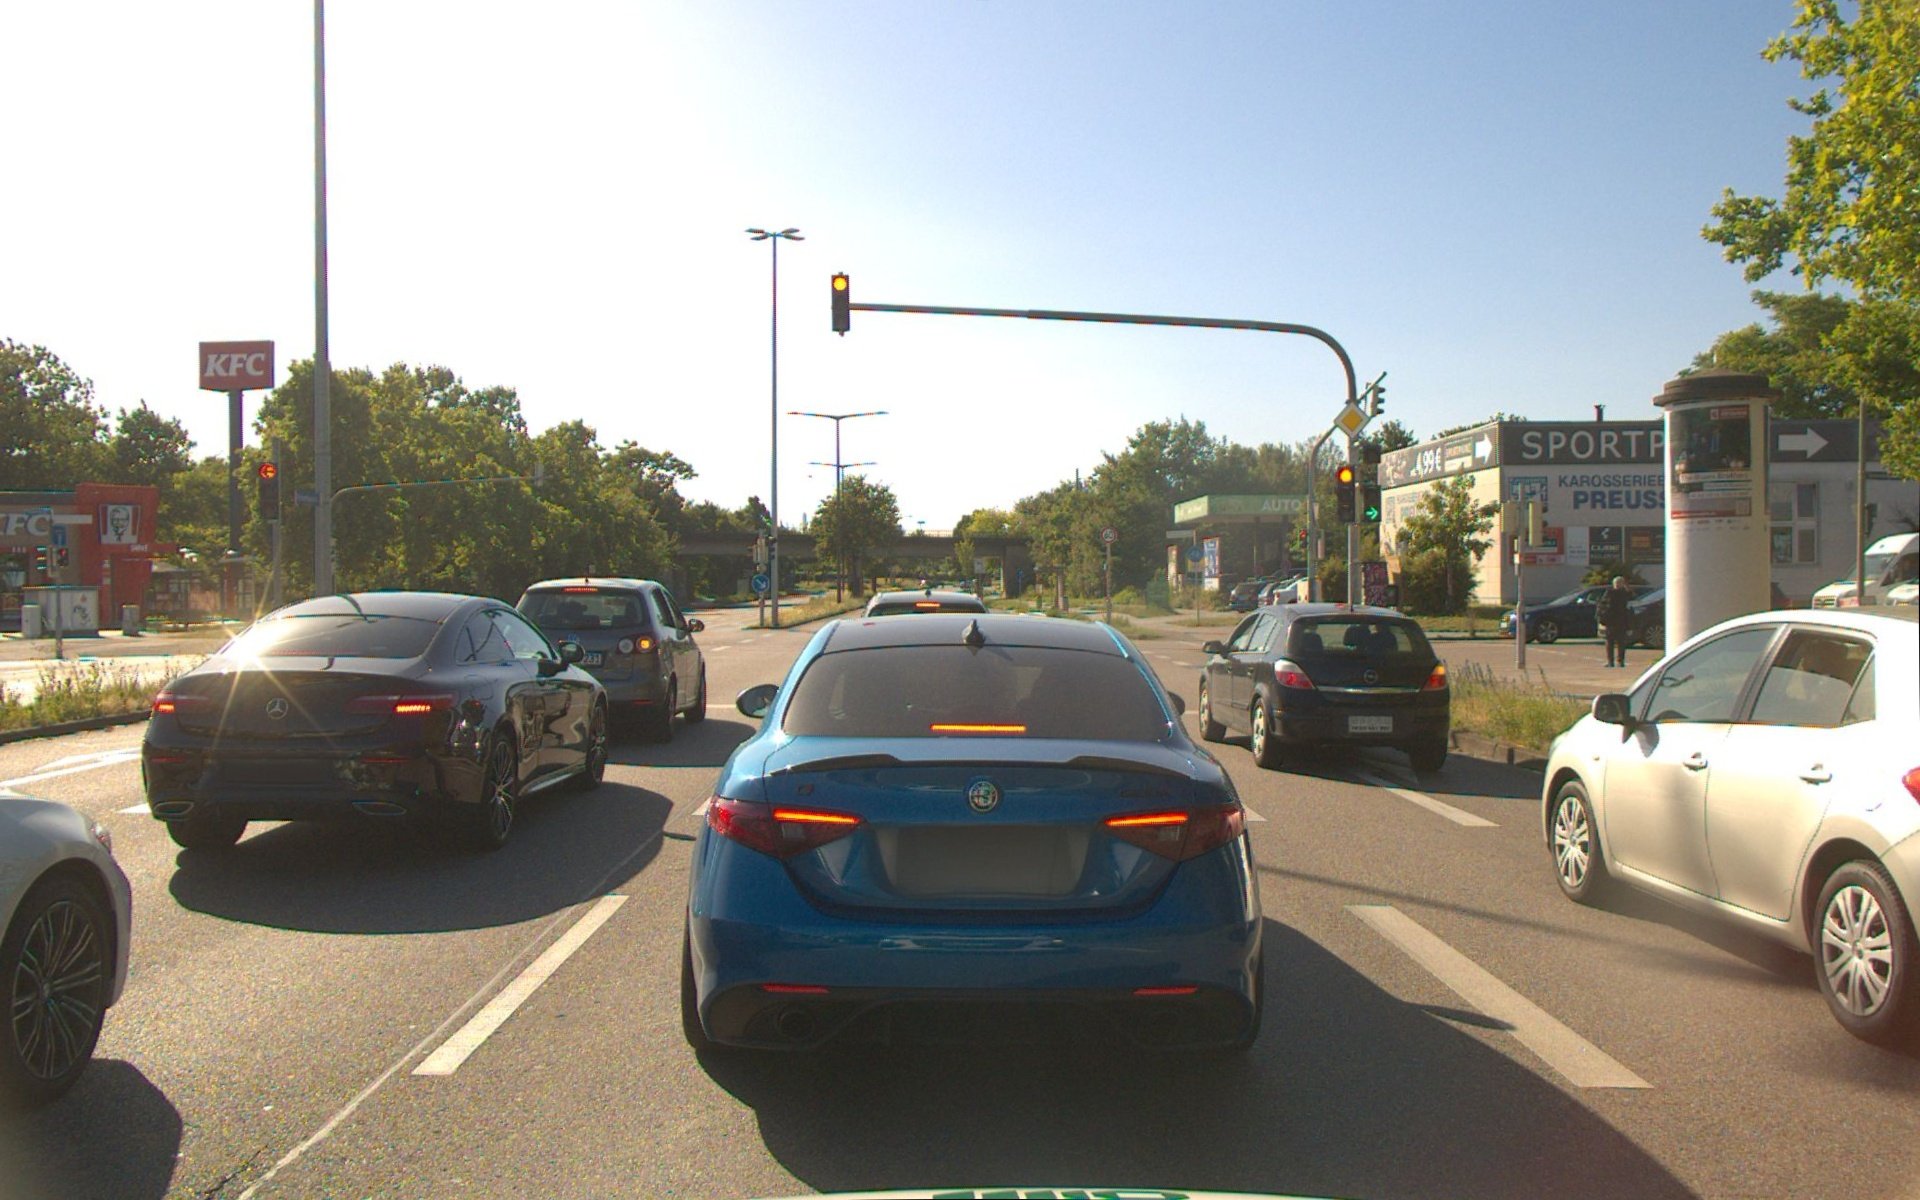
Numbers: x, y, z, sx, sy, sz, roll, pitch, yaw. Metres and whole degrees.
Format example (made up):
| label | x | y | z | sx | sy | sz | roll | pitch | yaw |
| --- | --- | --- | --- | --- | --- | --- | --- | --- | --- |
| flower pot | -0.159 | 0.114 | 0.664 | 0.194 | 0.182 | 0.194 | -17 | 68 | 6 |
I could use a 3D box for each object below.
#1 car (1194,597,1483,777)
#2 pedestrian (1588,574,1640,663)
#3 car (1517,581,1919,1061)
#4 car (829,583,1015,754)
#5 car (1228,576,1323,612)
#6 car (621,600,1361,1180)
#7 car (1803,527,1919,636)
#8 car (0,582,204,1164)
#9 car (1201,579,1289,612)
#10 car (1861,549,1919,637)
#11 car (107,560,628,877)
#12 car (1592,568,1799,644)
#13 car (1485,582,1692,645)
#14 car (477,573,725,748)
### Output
| label | x | y | z | sx | sy | sz | roll | pitch | yaw |
| --- | --- | --- | --- | --- | --- | --- | --- | --- | --- |
| car | 3.454 | 0.722 | 15.917 | 1.699 | 1.467 | 4.370 | 1 | 0 | -1 |
| pedestrian | 12.660 | 0.360 | 32.027 | 0.800 | 1.698 | 0.514 | 1 | -1 | -1 |
| car | 3.988 | 0.722 | 7.070 | 1.747 | 1.564 | 4.107 | 1 | 0 | -1 |
| car | -0.314 | 0.633 | 16.910 | 1.669 | 1.523 | 3.719 | 1 | 0 | 1 |
| car | 14.249 | -0.265 | 74.897 | 3.905 | 1.579 | 2.000 | 1 | 0 | 0 |
| car | 0.108 | 0.750 | 6.093 | 1.870 | 1.447 | 3.719 | 1 | 0 | 1 |
| car | 25.296 | -0.498 | 42.981 | 5.715 | 2.719 | 2.000 | -1 | -1 | 0 |
| car | -3.373 | 0.713 | 3.141 | 1.775 | 1.512 | 4.596 | 0 | 0 | 0 |
| car | 14.382 | -0.232 | 83.440 | 3.925 | 1.579 | 1.990 | 1 | 0 | -18 |
| car | 24.622 | -0.195 | 39.812 | 4.854 | 2.071 | 1.880 | -1 | 0 | -2 |
| car | -3.422 | 0.586 | 10.565 | 1.775 | 1.578 | 4.542 | 1 | 0 | -1 |
| car | 17.470 | 0.147 | 39.385 | 4.219 | 1.678 | 1.637 | 1 | 0 | -2 |
| car | 16.228 | 0.348 | 42.832 | 4.722 | 1.493 | 1.758 | 1 | 0 | -3 |
| car | -3.594 | 0.567 | 17.339 | 1.776 | 1.578 | 4.351 | 1 | 0 | -2 |
